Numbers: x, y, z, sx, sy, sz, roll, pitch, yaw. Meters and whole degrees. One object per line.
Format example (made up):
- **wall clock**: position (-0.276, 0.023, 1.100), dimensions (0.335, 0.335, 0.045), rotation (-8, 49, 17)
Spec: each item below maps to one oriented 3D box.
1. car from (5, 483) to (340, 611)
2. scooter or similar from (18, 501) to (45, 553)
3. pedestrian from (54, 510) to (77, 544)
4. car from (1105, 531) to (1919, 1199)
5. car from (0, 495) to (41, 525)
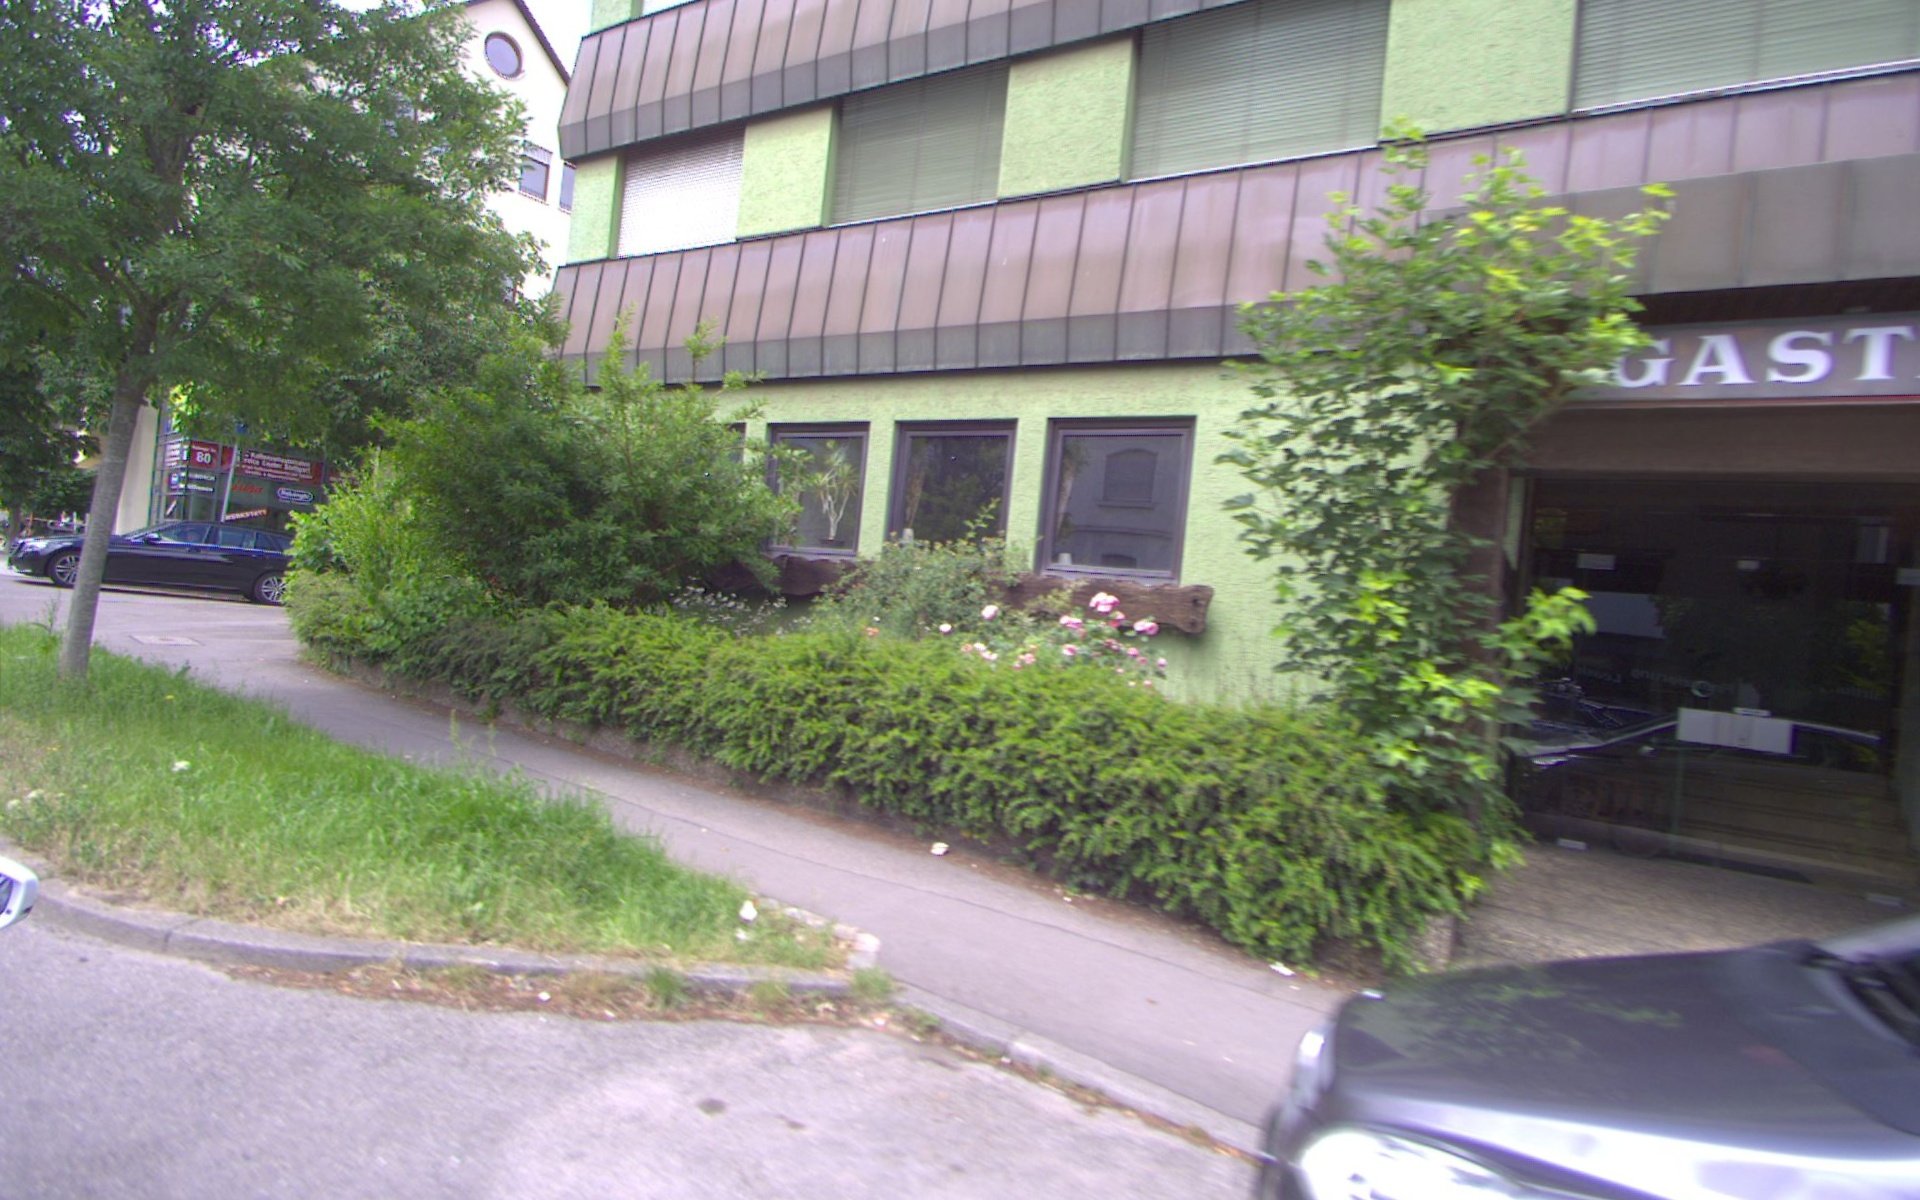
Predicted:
- **car**: position (-14.620, -0.918, 18.894), dimensions (1.787, 1.647, 4.662), rotation (6, -2, 44)
- **scooter or similar**: position (-25.346, -2.002, 27.453), dimensions (1.440, 1.332, 0.380), rotation (5, -1, 45)
- **pedestrian**: position (-34.274, -2.783, 38.555), dimensions (0.575, 1.218, 0.497), rotation (7, -1, -42)
- **car**: position (2.543, 1.028, 1.169), dimensions (4.389, 1.687, 1.691), rotation (8, 1, 33)
- **car**: position (-63.468, -6.142, 66.336), dimensions (1.778, 1.634, 4.331), rotation (9, -3, -4)
